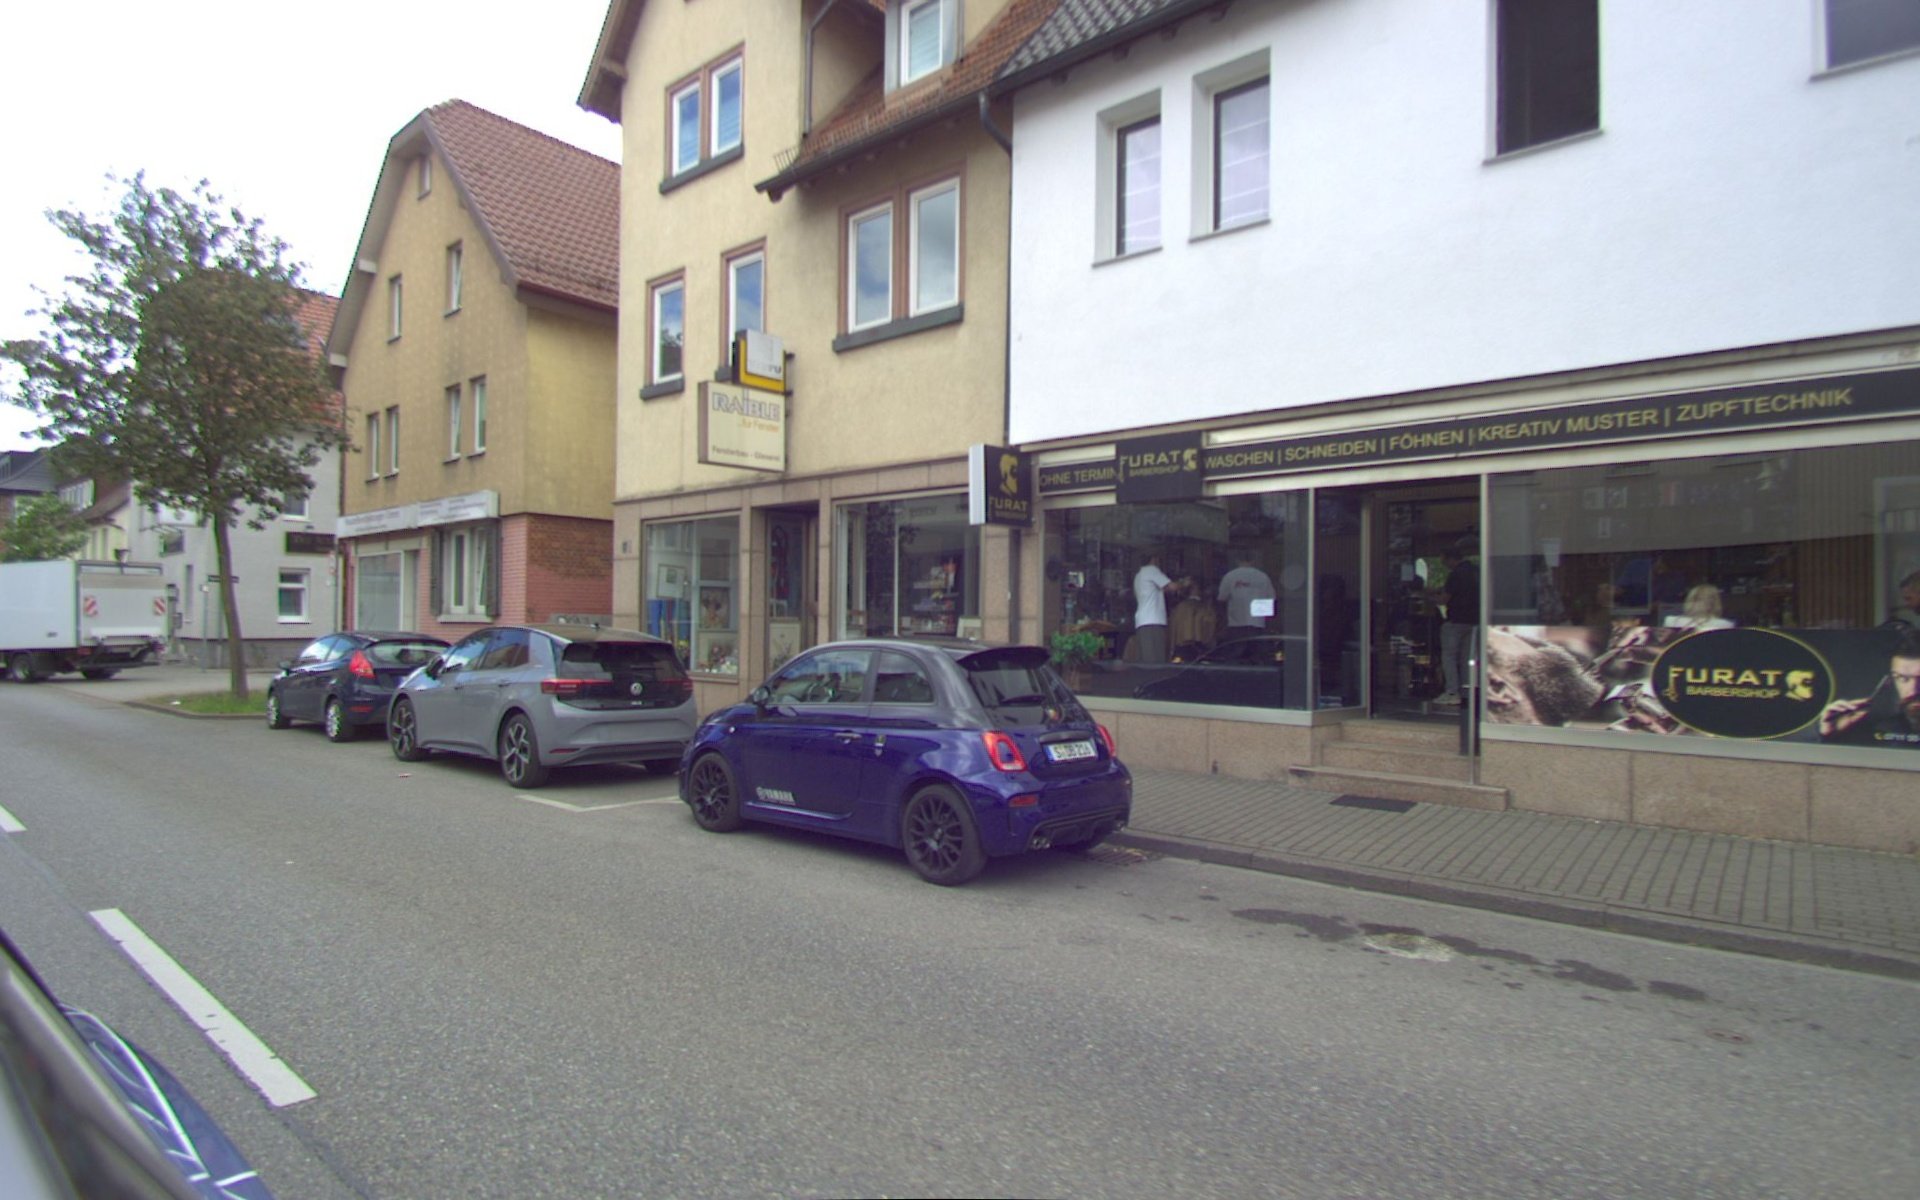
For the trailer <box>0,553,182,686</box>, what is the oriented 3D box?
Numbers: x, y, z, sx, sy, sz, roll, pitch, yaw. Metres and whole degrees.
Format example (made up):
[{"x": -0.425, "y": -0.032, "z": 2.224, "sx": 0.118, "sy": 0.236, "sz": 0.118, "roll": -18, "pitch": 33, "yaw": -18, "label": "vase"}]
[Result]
[{"x": -24.680, "y": 0.470, "z": 26.902, "sx": 7.065, "sy": 3.244, "sz": 2.500, "roll": 0, "pitch": 0, "yaw": 14, "label": "trailer"}]

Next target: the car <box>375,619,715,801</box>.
[{"x": -4.557, "y": 1.017, "z": 10.832, "sx": 4.112, "sy": 1.578, "sz": 1.692, "roll": -1, "pitch": -3, "yaw": 41, "label": "car"}]

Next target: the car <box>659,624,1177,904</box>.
[{"x": -0.441, "y": 0.952, "z": 7.328, "sx": 3.590, "sy": 1.504, "sz": 1.665, "roll": -1, "pitch": -3, "yaw": 41, "label": "car"}]

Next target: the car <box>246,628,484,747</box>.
[{"x": -8.540, "y": 1.152, "z": 14.405, "sx": 3.928, "sy": 1.435, "sz": 1.665, "roll": -1, "pitch": -3, "yaw": 40, "label": "car"}]
